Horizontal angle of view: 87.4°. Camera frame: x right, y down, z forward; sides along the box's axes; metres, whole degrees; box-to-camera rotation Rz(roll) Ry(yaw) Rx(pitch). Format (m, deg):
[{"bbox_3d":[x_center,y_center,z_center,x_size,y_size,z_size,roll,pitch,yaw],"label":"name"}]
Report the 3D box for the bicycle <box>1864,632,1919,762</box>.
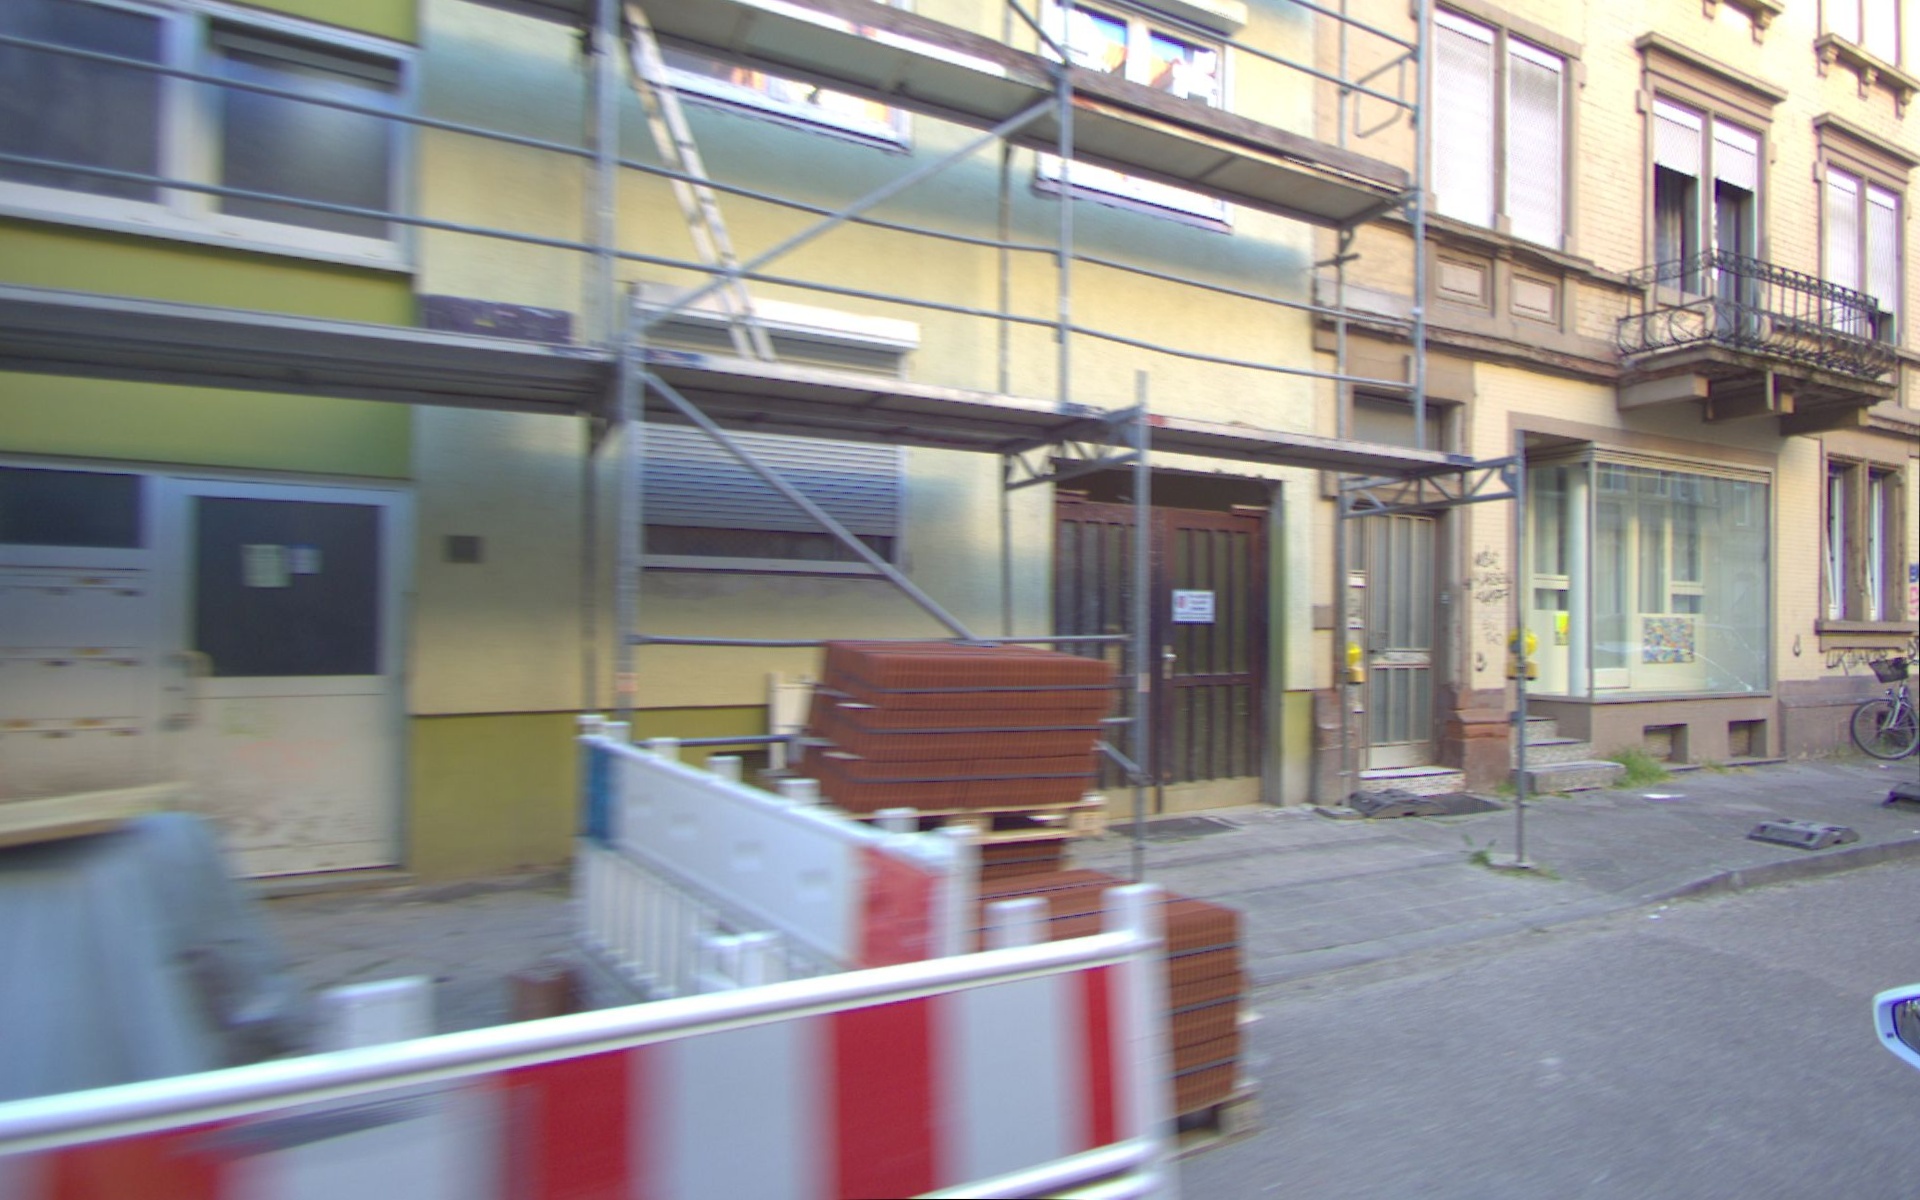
[{"bbox_3d":[11.555,1.126,11.957,1.689,1.444,0.522,2,1,-26],"label":"bicycle"}]
